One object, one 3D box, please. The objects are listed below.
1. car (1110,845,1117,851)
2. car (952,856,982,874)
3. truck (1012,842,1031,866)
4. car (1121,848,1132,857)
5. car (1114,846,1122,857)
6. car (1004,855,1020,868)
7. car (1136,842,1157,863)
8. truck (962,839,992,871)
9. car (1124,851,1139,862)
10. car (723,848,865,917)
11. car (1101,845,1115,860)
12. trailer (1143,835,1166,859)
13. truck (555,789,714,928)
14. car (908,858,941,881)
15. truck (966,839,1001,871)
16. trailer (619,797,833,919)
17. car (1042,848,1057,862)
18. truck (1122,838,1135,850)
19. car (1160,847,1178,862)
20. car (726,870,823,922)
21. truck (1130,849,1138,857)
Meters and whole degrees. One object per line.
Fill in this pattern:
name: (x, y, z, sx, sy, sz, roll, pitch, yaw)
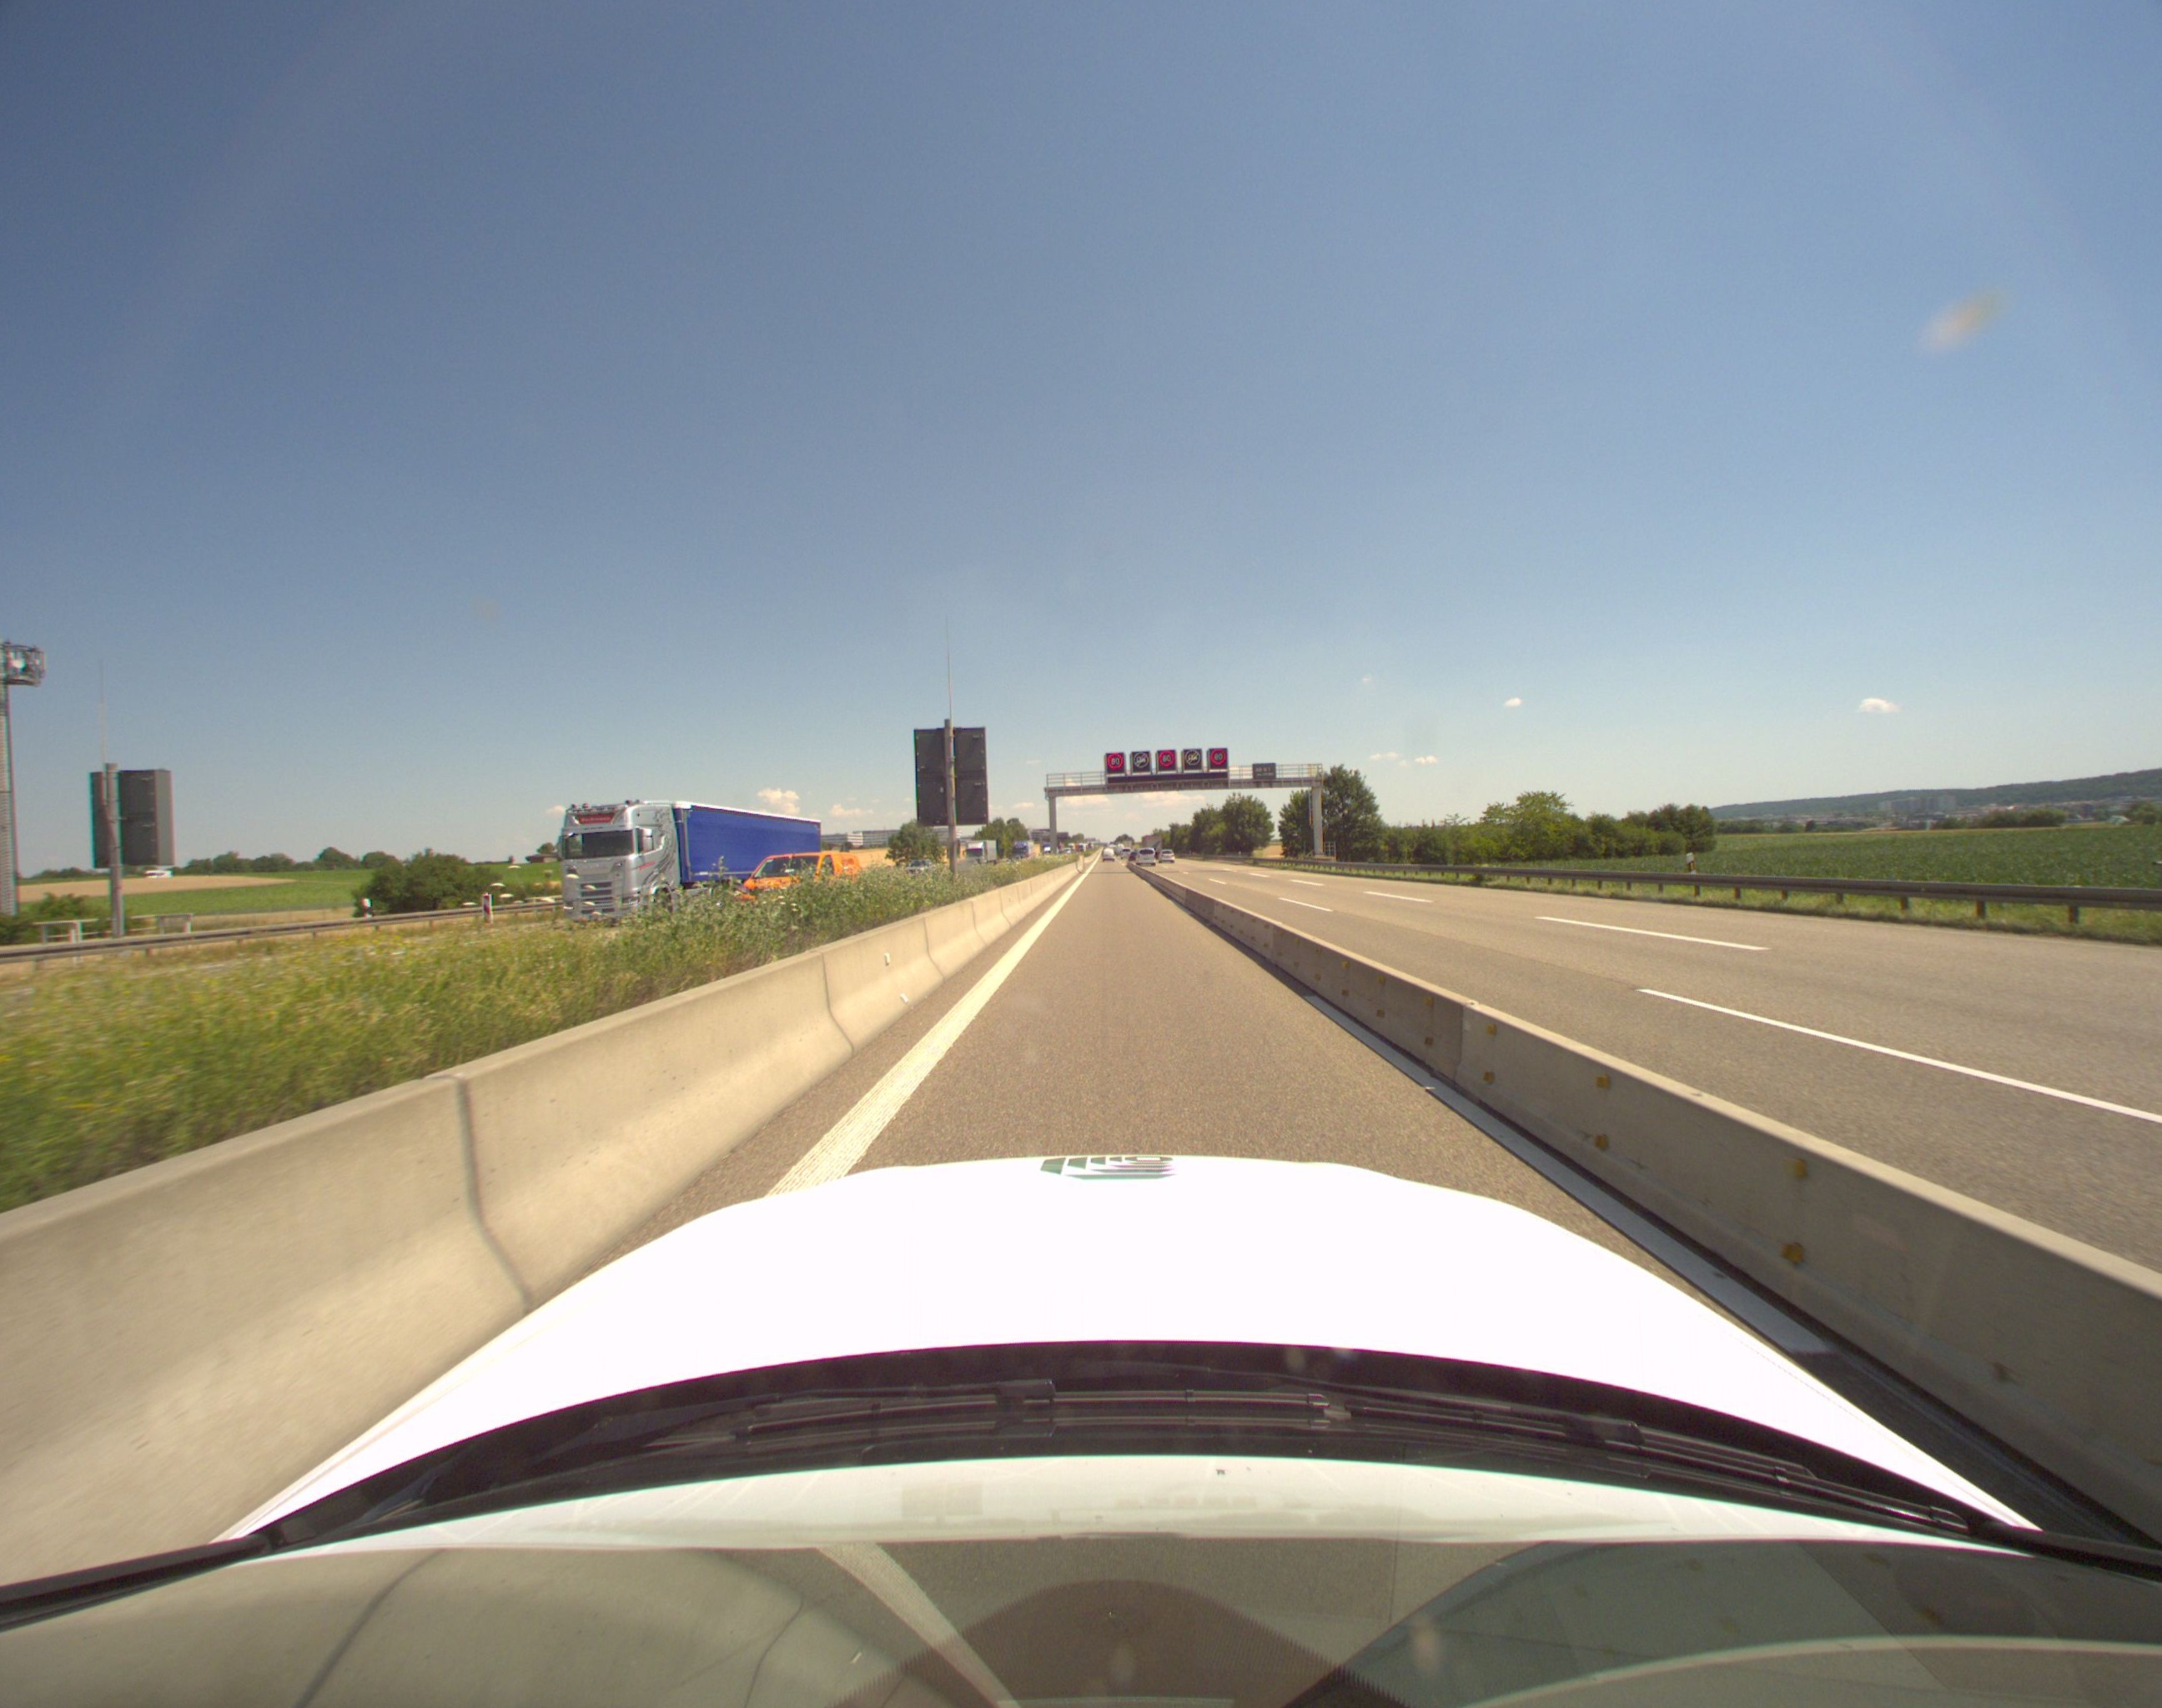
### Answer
car: (10.361, -1.937, 258.531, 1.986, 1.835, 4.001, -1, 0, 2)
car: (-9.482, 0.910, 67.987, 1.827, 1.324, 4.279, -4, 0, -1)
truck: (-10.910, 0.035, 150.024, 2.583, 4.238, 4.855, -4, 0, 1)
car: (8.171, -0.255, 146.483, 1.767, 1.447, 4.001, -1, -1, 2)
car: (8.729, -0.622, 192.387, 1.767, 2.392, 4.001, -1, -1, 2)
car: (-8.395, 0.885, 99.429, 1.553, 1.442, 3.837, -3, 0, 1)
car: (6.861, -0.131, 85.304, 1.986, 2.120, 4.001, -1, -1, 1)
truck: (-12.436, 0.137, 97.456, 2.687, 3.587, 4.003, -3, 0, 2)
car: (6.916, 0.335, 111.789, 1.767, 1.447, 4.001, -1, -1, 2)
car: (-7.329, 0.685, 21.413, 1.887, 1.578, 4.937, -1, 0, 1)
car: (3.987, -0.210, 119.857, 1.986, 2.014, 4.001, -1, -1, 1)
trailer: (12.430, -1.118, 139.038, 3.265, 3.967, 9.115, -1, -1, 2)
truck: (-14.564, 0.126, 26.952, 2.402, 4.086, 4.662, -2, 0, 2)
car: (-12.923, 1.253, 67.499, 1.826, 1.719, 4.081, -3, 0, 1)
truck: (-12.173, 0.093, 102.723, 2.689, 3.620, 8.793, -3, 0, 3)
trailer: (-14.290, 0.105, 34.926, 2.377, 4.086, 14.104, -2, 0, 2)
car: (-4.667, 0.186, 121.915, 1.986, 1.946, 4.796, -2, 0, 1)
truck: (15.334, -3.168, 263.550, 3.802, 3.904, 9.583, -2, 0, 1)
car: (11.015, 0.048, 102.232, 1.986, 1.794, 4.001, -1, -1, 1)
car: (-10.570, 1.411, 28.396, 1.582, 1.508, 4.231, -2, 0, 2)
truck: (14.924, -0.238, 230.642, 1.986, 2.013, 4.001, -2, 0, 1)
